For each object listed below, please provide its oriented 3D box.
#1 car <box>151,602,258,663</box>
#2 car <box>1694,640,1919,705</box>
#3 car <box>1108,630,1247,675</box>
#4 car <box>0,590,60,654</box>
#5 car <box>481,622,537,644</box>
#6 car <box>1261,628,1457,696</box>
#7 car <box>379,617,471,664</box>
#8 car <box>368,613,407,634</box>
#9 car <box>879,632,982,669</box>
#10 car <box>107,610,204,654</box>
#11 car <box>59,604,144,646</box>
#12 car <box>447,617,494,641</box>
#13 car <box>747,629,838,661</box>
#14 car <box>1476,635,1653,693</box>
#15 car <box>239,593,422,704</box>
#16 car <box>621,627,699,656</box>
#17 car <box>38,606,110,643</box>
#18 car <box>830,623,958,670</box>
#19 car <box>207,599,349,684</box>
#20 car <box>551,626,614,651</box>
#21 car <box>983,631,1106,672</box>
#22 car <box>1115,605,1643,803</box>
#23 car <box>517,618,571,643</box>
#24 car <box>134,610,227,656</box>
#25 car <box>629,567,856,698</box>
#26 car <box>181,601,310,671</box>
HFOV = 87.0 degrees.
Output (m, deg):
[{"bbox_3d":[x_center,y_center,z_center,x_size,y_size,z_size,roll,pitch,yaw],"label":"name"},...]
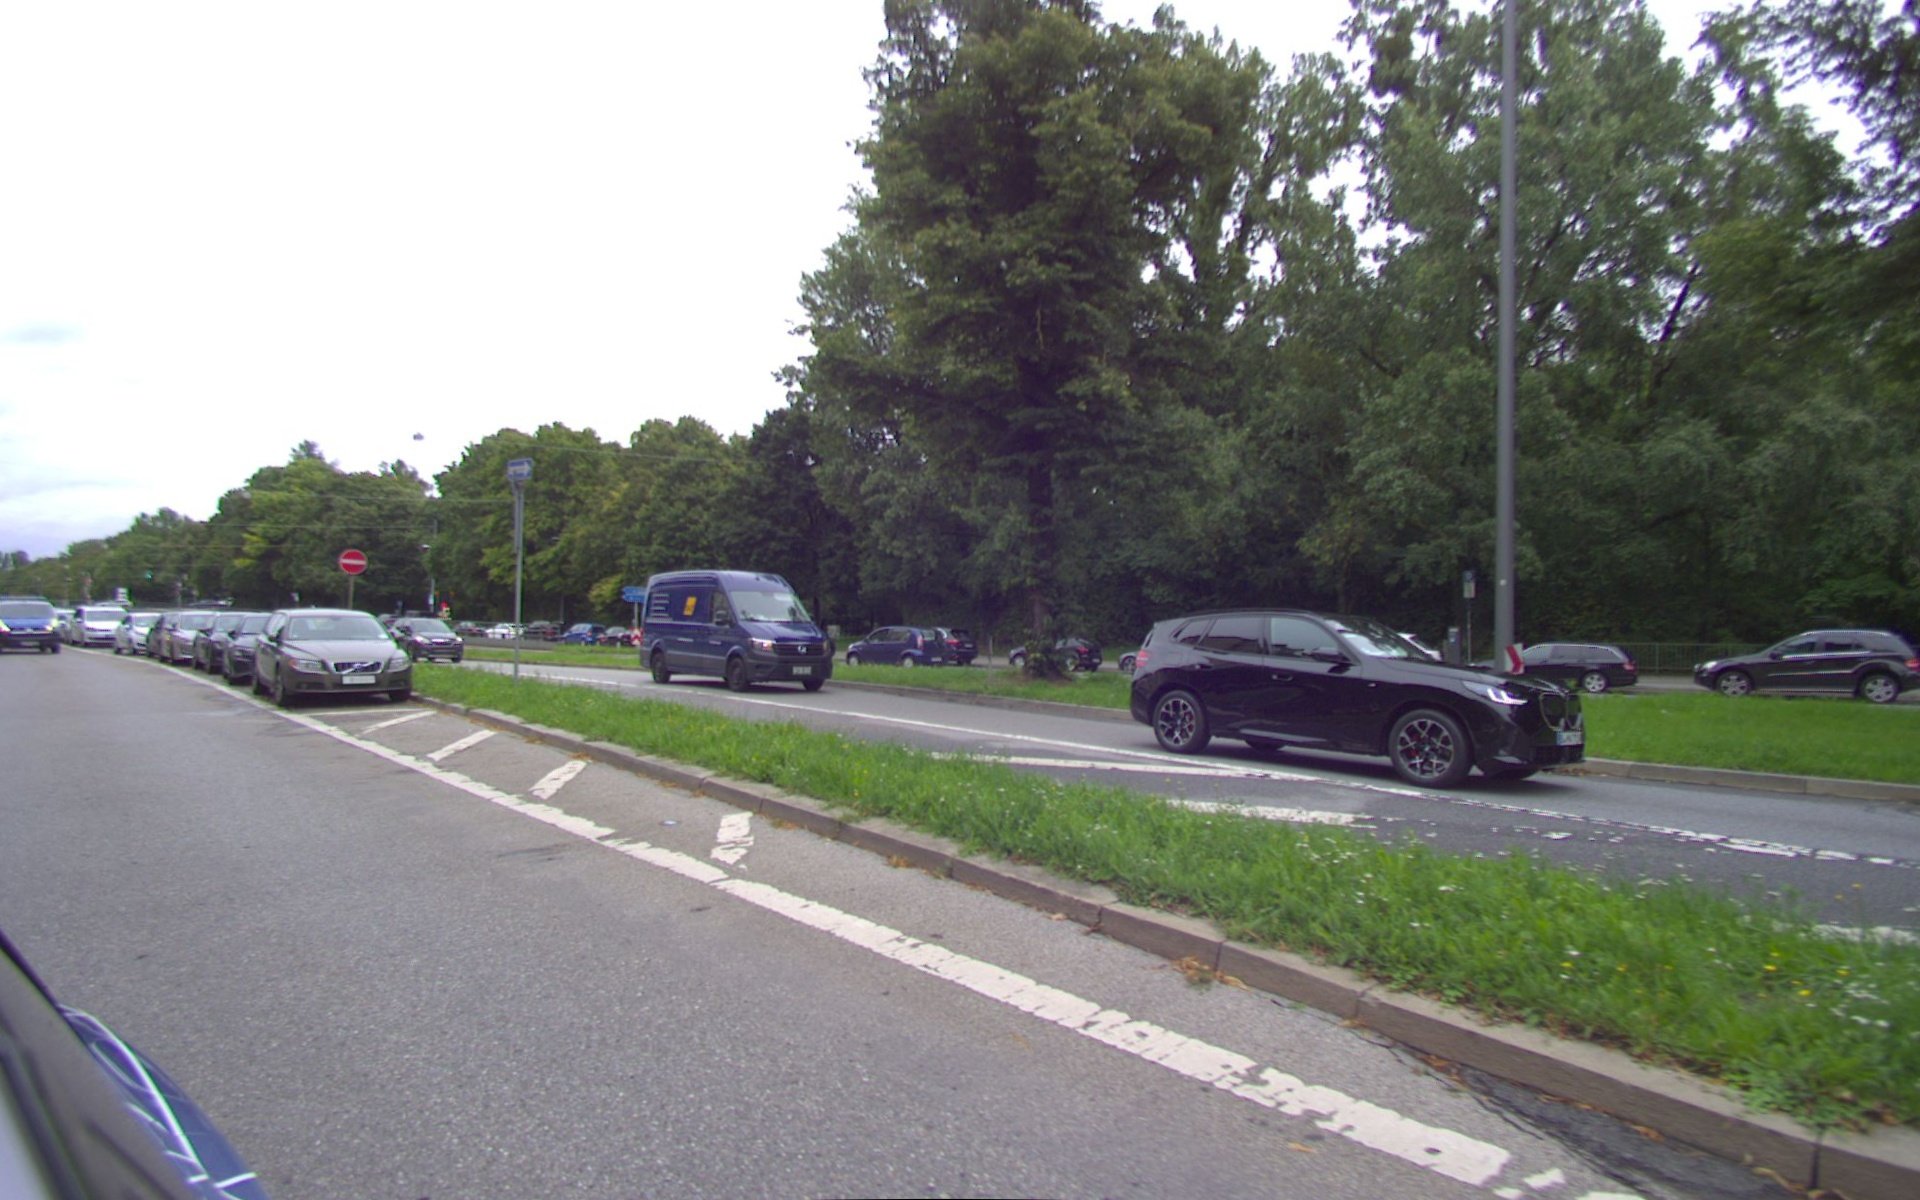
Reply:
[{"bbox_3d":[-21.326,0.893,28.509,1.963,1.577,4.288,2,-2,-42],"label":"car"},{"bbox_3d":[21.919,1.833,26.072,4.756,1.457,1.977,0,-3,34],"label":"car"},{"bbox_3d":[7.786,1.874,36.440,4.522,1.457,1.973,0,-3,40],"label":"car"},{"bbox_3d":[-34.667,0.760,37.415,1.830,2.227,4.557,2,-1,-44],"label":"car"},{"bbox_3d":[-32.631,2.399,73.162,4.314,1.457,1.973,0,-3,40],"label":"car"},{"bbox_3d":[9.693,1.470,24.672,4.222,1.457,1.813,0,-3,32],"label":"car"},{"bbox_3d":[-20.119,1.485,37.986,1.963,1.640,4.277,2,-2,-43],"label":"car"},{"bbox_3d":[-50.539,2.035,89.306,4.001,1.759,1.840,0,-1,44],"label":"car"},{"bbox_3d":[-1.324,2.212,44.549,4.314,1.457,1.973,0,-3,40],"label":"car"},{"bbox_3d":[-28.921,1.128,36.321,4.281,1.467,1.966,0,-2,41],"label":"car"},{"bbox_3d":[-37.080,1.065,43.668,5.088,1.715,2.047,0,-2,41],"label":"car"},{"bbox_3d":[-37.442,2.230,77.406,4.001,1.759,1.971,0,-1,44],"label":"car"},{"bbox_3d":[-8.315,2.232,50.106,4.522,1.457,1.973,0,-3,40],"label":"car"},{"bbox_3d":[17.506,1.817,29.419,4.307,1.457,1.977,0,-3,34],"label":"car"},{"bbox_3d":[-10.611,0.734,16.885,1.875,1.577,4.778,2,-2,-40],"label":"car"},{"bbox_3d":[-17.036,2.329,57.394,4.703,1.546,1.973,0,-3,40],"label":"car"},{"bbox_3d":[-43.067,1.165,49.163,4.557,1.715,2.047,-1,-2,41],"label":"car"},{"bbox_3d":[-2.231,1.523,33.756,4.026,1.457,1.874,-1,-2,37],"label":"car"},{"bbox_3d":[-14.390,0.819,21.254,1.962,1.577,4.289,2,-2,-40],"label":"car"},{"bbox_3d":[-24.606,2.499,65.900,4.314,1.457,1.973,0,-3,40],"label":"car"},{"bbox_3d":[3.303,2.017,40.091,4.522,1.457,1.973,0,-3,40],"label":"car"},{"bbox_3d":[4.091,0.917,10.691,1.888,1.598,4.840,4,-3,-38],"label":"car"},{"bbox_3d":[-28.520,2.057,69.289,4.000,1.569,1.885,1,-1,43],"label":"car"},{"bbox_3d":[-25.476,1.051,33.037,4.283,1.380,1.742,0,-2,44],"label":"car"},{"bbox_3d":[-4.916,0.621,22.130,2.157,2.482,5.859,2,-1,-42],"label":"car"},{"bbox_3d":[-17.805,0.845,25.138,1.964,1.577,4.286,2,-2,-44],"label":"car"}]
